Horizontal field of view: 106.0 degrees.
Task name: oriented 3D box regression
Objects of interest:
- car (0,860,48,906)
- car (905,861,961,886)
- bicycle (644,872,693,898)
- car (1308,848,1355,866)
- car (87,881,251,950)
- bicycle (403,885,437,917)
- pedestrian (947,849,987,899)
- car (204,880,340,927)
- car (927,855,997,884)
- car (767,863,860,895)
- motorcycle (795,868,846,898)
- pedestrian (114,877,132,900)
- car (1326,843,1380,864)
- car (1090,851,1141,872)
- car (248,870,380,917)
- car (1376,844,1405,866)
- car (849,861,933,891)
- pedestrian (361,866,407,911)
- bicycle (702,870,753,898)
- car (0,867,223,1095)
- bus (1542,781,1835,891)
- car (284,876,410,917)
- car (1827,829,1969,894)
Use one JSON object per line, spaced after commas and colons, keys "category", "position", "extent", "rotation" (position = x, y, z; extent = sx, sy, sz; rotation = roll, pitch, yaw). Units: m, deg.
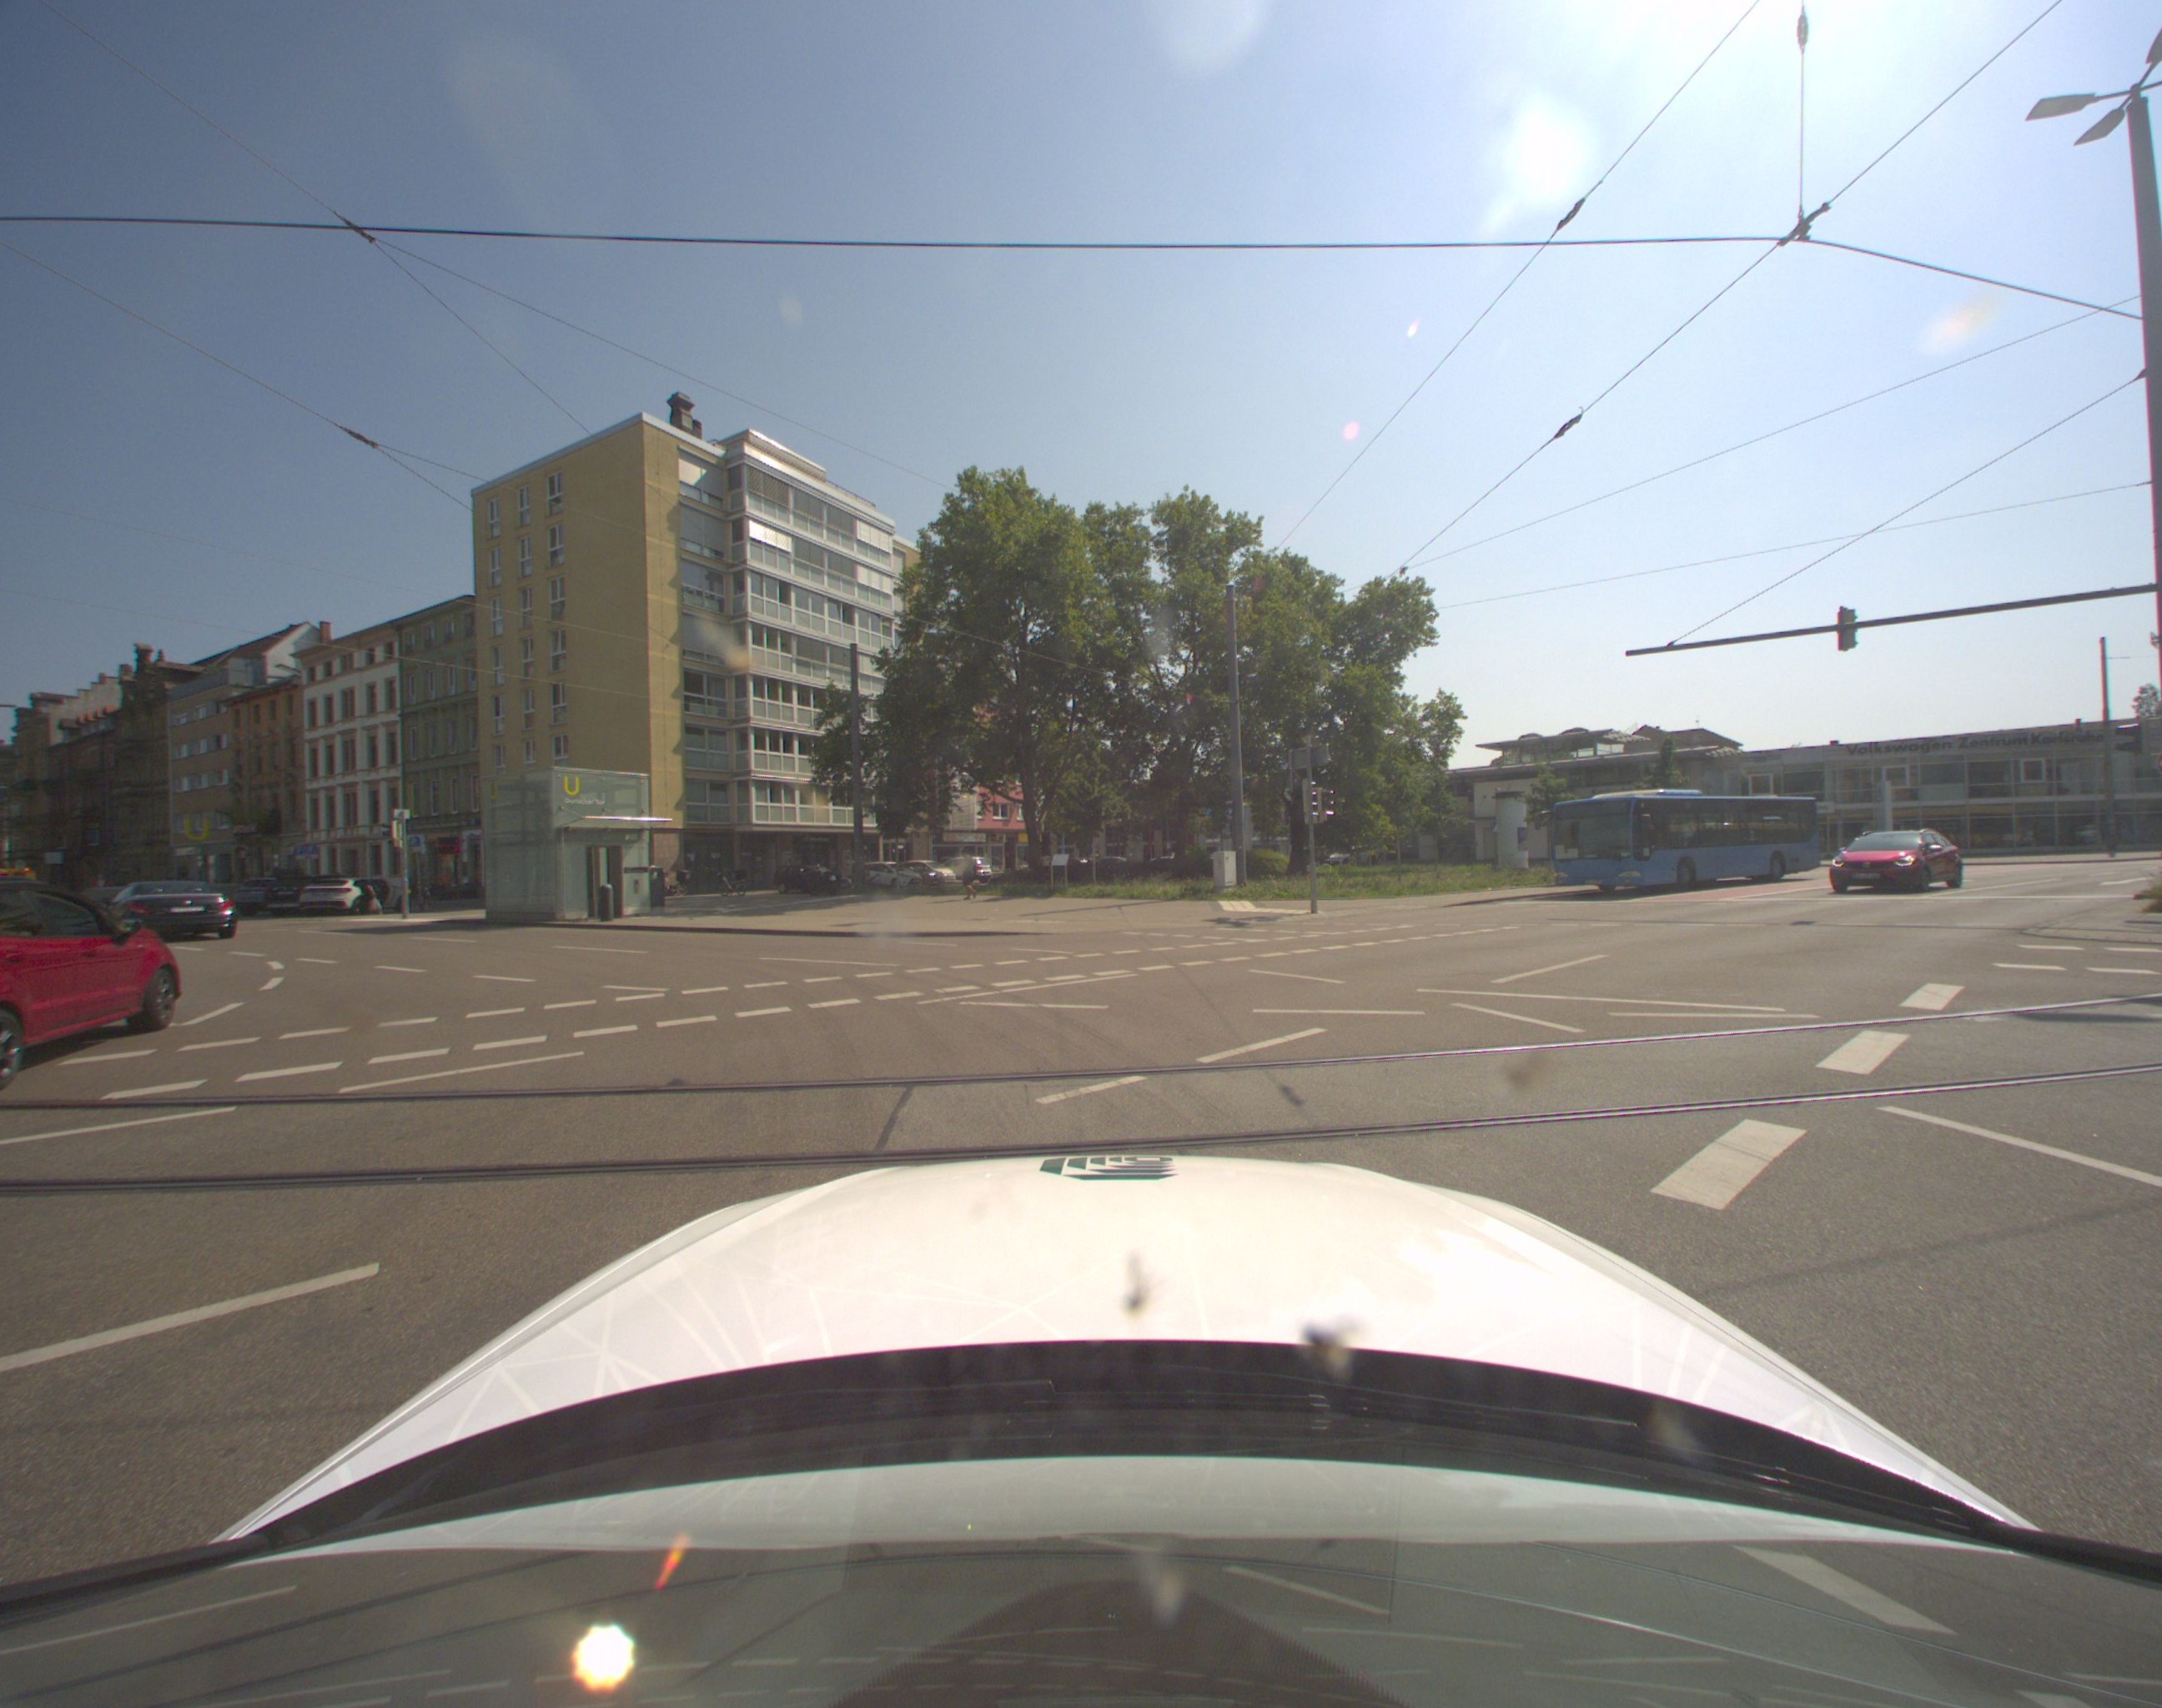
{"category": "car", "position": [-71.276, 1.933, 54.298], "extent": [5.526, 2.888, 2.321], "rotation": [-2, 1, 32]}
{"category": "car", "position": [-9.025, 1.168, 49.656], "extent": [3.059, 1.429, 1.412], "rotation": [-2, 0, 26]}
{"category": "bicycle", "position": [-19.493, 1.449, 38.535], "extent": [0.589, 1.143, 1.982], "rotation": [-2, 0, 44]}
{"category": "car", "position": [23.511, 0.257, 76.415], "extent": [4.014, 1.508, 1.980], "rotation": [-2, 0, -32]}
{"category": "car", "position": [-21.830, 1.419, 19.474], "extent": [3.949, 1.431, 1.807], "rotation": [-2, 0, 30]}
{"category": "bicycle", "position": [-28.112, 2.003, 34.640], "extent": [1.768, 1.296, 0.477], "rotation": [-3, 0, 31]}
{"category": "pedestrian", "position": [-3.804, 0.666, 27.204], "extent": [0.938, 1.609, 0.798], "rotation": [-3, 0, 25]}
{"category": "car", "position": [-35.555, 2.107, 36.003], "extent": [2.039, 1.713, 4.646], "rotation": [-2, 0, -12]}
{"category": "car", "position": [-7.568, 0.984, 51.785], "extent": [4.023, 1.666, 1.801], "rotation": [-2, 0, 26]}
{"category": "car", "position": [-13.276, 1.247, 40.386], "extent": [4.193, 1.470, 1.917], "rotation": [-2, 0, 26]}
{"category": "motorcycle", "position": [-10.253, 1.137, 32.042], "extent": [2.085, 1.137, 0.918], "rotation": [-2, -1, 41]}
{"category": "pedestrian", "position": [-69.281, 2.495, 58.891], "extent": [1.051, 1.667, 0.703], "rotation": [-2, -1, 31]}
{"category": "car", "position": [24.096, -0.048, 72.111], "extent": [4.249, 1.753, 1.709], "rotation": [-2, 0, -12]}
{"category": "car", "position": [2.995, 0.665, 71.617], "extent": [4.023, 1.666, 1.801], "rotation": [-2, 0, 26]}
{"category": "car", "position": [-31.808, 1.569, 33.976], "extent": [1.982, 1.687, 4.374], "rotation": [-2, 0, -12]}
{"category": "car", "position": [29.104, 0.046, 76.516], "extent": [2.306, 2.013, 6.846], "rotation": [0, 1, 23]}
{"category": "car", "position": [-10.512, 1.220, 44.943], "extent": [4.193, 1.470, 1.917], "rotation": [-2, 0, 26]}
{"category": "pedestrian", "position": [-27.551, 1.360, 32.194], "extent": [0.898, 1.704, 1.038], "rotation": [-1, -2, 2]}
{"category": "bicycle", "position": [-16.303, 1.396, 37.539], "extent": [2.404, 1.238, 0.799], "rotation": [-2, -1, 28]}
{"category": "car", "position": [-9.370, 0.979, 6.803], "extent": [1.772, 1.618, 4.045], "rotation": [-2, 1, -28]}
{"category": "bus", "position": [20.120, -0.631, 26.579], "extent": [12.112, 3.064, 2.709], "rotation": [-2, 0, -28]}
{"category": "car", "position": [-28.998, 1.643, 32.332], "extent": [1.799, 1.500, 3.776], "rotation": [0, -2, -7]}
{"category": "car", "position": [20.912, 0.162, 20.825], "extent": [3.783, 1.472, 1.614], "rotation": [-2, 0, -30]}
